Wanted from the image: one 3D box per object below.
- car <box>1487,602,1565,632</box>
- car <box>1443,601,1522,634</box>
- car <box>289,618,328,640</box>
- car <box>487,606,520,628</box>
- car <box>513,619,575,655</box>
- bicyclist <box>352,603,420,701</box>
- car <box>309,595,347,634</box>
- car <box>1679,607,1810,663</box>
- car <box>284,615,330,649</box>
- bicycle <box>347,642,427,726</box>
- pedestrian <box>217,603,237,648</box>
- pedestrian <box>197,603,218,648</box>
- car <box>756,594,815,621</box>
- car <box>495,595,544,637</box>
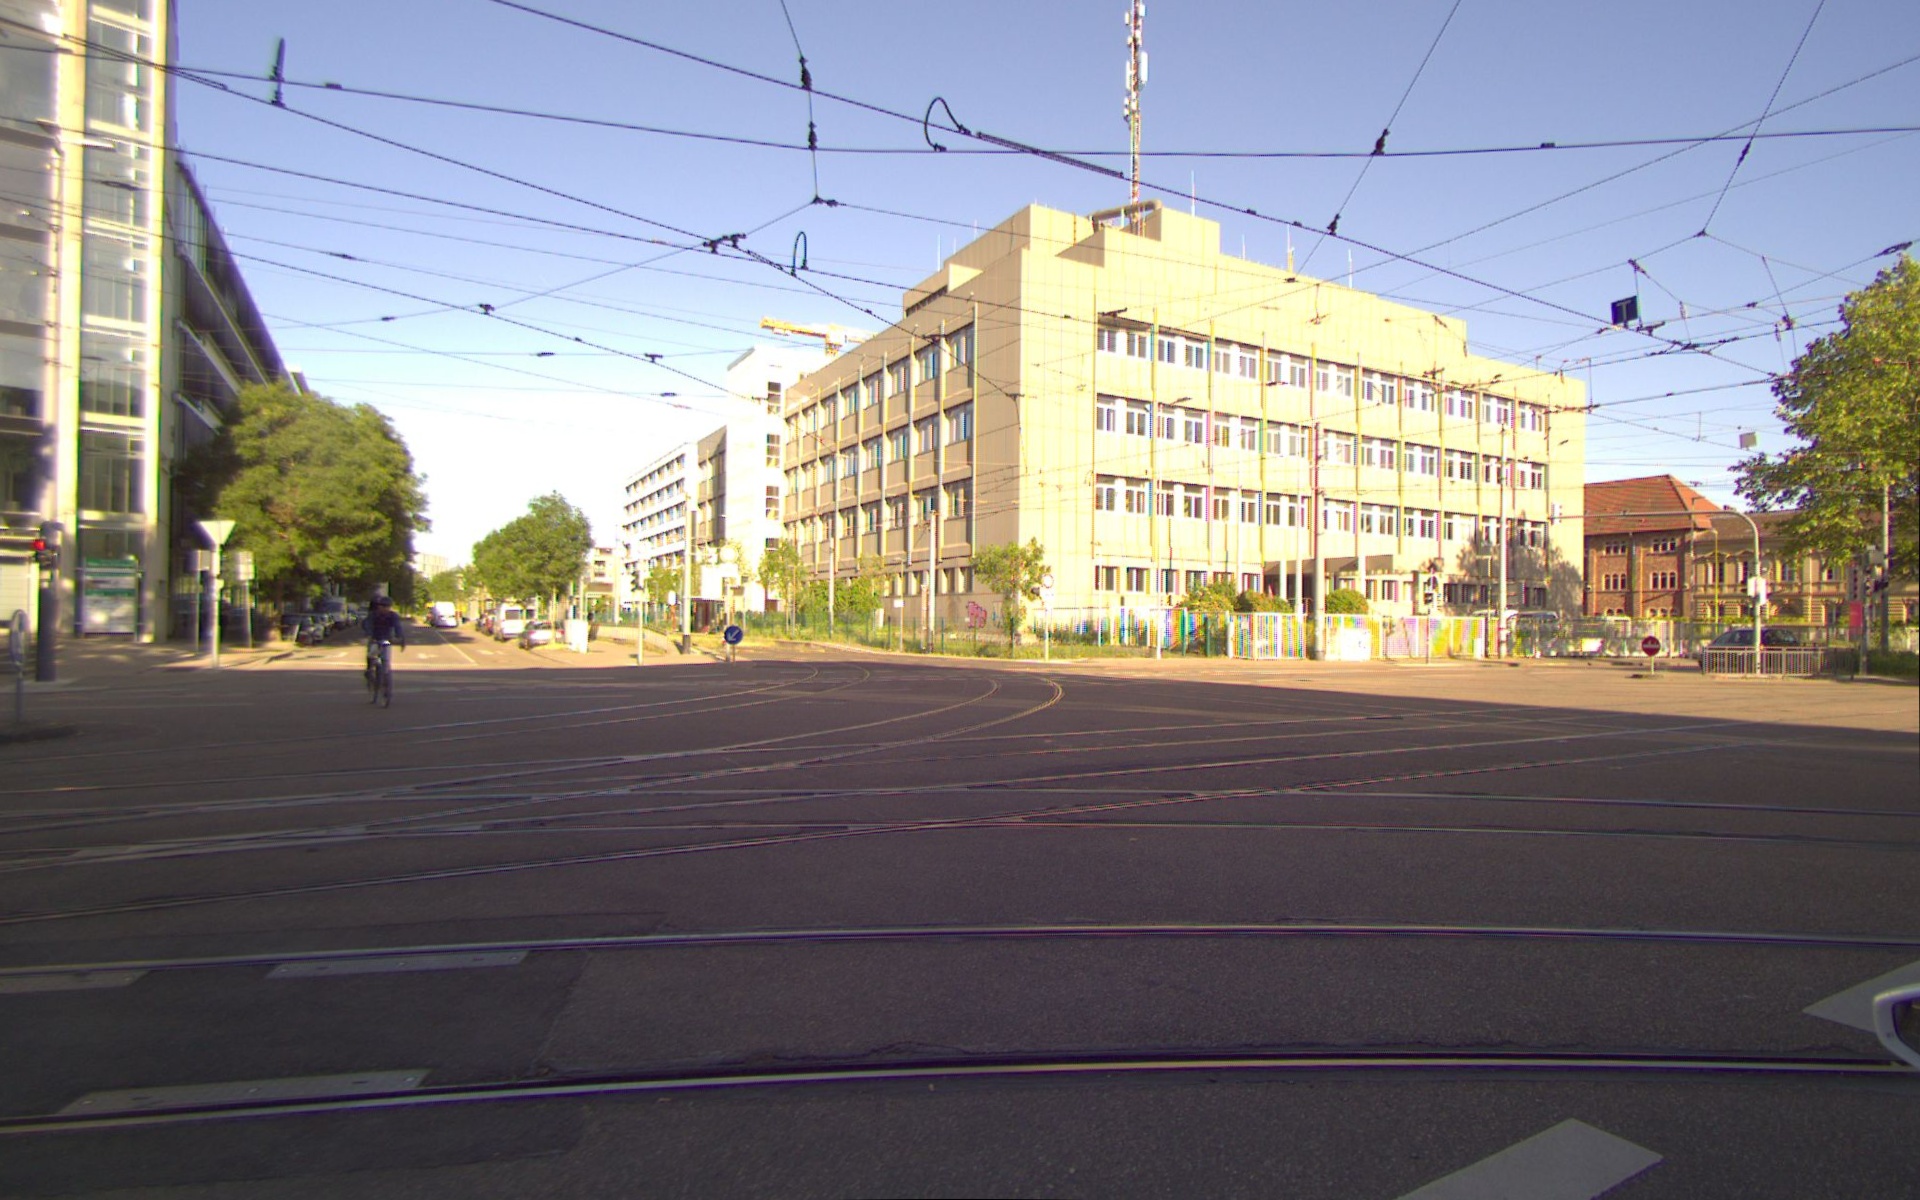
[{"bbox_3d":[33.733,1.001,59.863,4.318,1.726,1.988,1,-1,-25],"label":"car"},{"bbox_3d":[32.589,1.101,62.606,4.661,2.040,1.988,1,-1,-25],"label":"car"},{"bbox_3d":[-37.518,1.651,57.931,1.789,1.204,3.767,1,-1,-32],"label":"car"},{"bbox_3d":[-33.688,1.240,74.025,1.734,1.579,3.916,1,-1,-32],"label":"car"},{"bbox_3d":[-21.080,1.824,50.841,2.088,1.720,3.931,1,-1,-36],"label":"car"},{"bbox_3d":[-9.225,0.814,16.144,0.870,1.514,0.719,0,0,44],"label":"bicyclist"},{"bbox_3d":[-45.292,1.015,72.102,2.207,2.690,5.085,1,-1,-32],"label":"car"},{"bbox_3d":[29.066,1.257,37.224,4.361,1.973,1.989,0,-1,-23],"label":"car"},{"bbox_3d":[-33.223,1.607,51.183,1.715,1.675,3.921,1,-1,-30],"label":"car"},{"bbox_3d":[-9.230,1.310,16.145,2.015,1.205,0.587,0,-1,44],"label":"bicycle"},{"bbox_3d":[-33.817,1.180,46.352,0.631,2.040,0.623,1,-1,-26],"label":"pedestrian"},{"bbox_3d":[-34.533,1.165,46.114,0.631,2.040,0.623,1,-1,-26],"label":"pedestrian"},{"bbox_3d":[-13.133,0.577,75.434,3.953,2.040,1.984,0,-1,-30],"label":"car"},{"bbox_3d":[-27.379,0.985,62.315,2.158,2.539,4.362,1,-1,-32],"label":"car"}]
